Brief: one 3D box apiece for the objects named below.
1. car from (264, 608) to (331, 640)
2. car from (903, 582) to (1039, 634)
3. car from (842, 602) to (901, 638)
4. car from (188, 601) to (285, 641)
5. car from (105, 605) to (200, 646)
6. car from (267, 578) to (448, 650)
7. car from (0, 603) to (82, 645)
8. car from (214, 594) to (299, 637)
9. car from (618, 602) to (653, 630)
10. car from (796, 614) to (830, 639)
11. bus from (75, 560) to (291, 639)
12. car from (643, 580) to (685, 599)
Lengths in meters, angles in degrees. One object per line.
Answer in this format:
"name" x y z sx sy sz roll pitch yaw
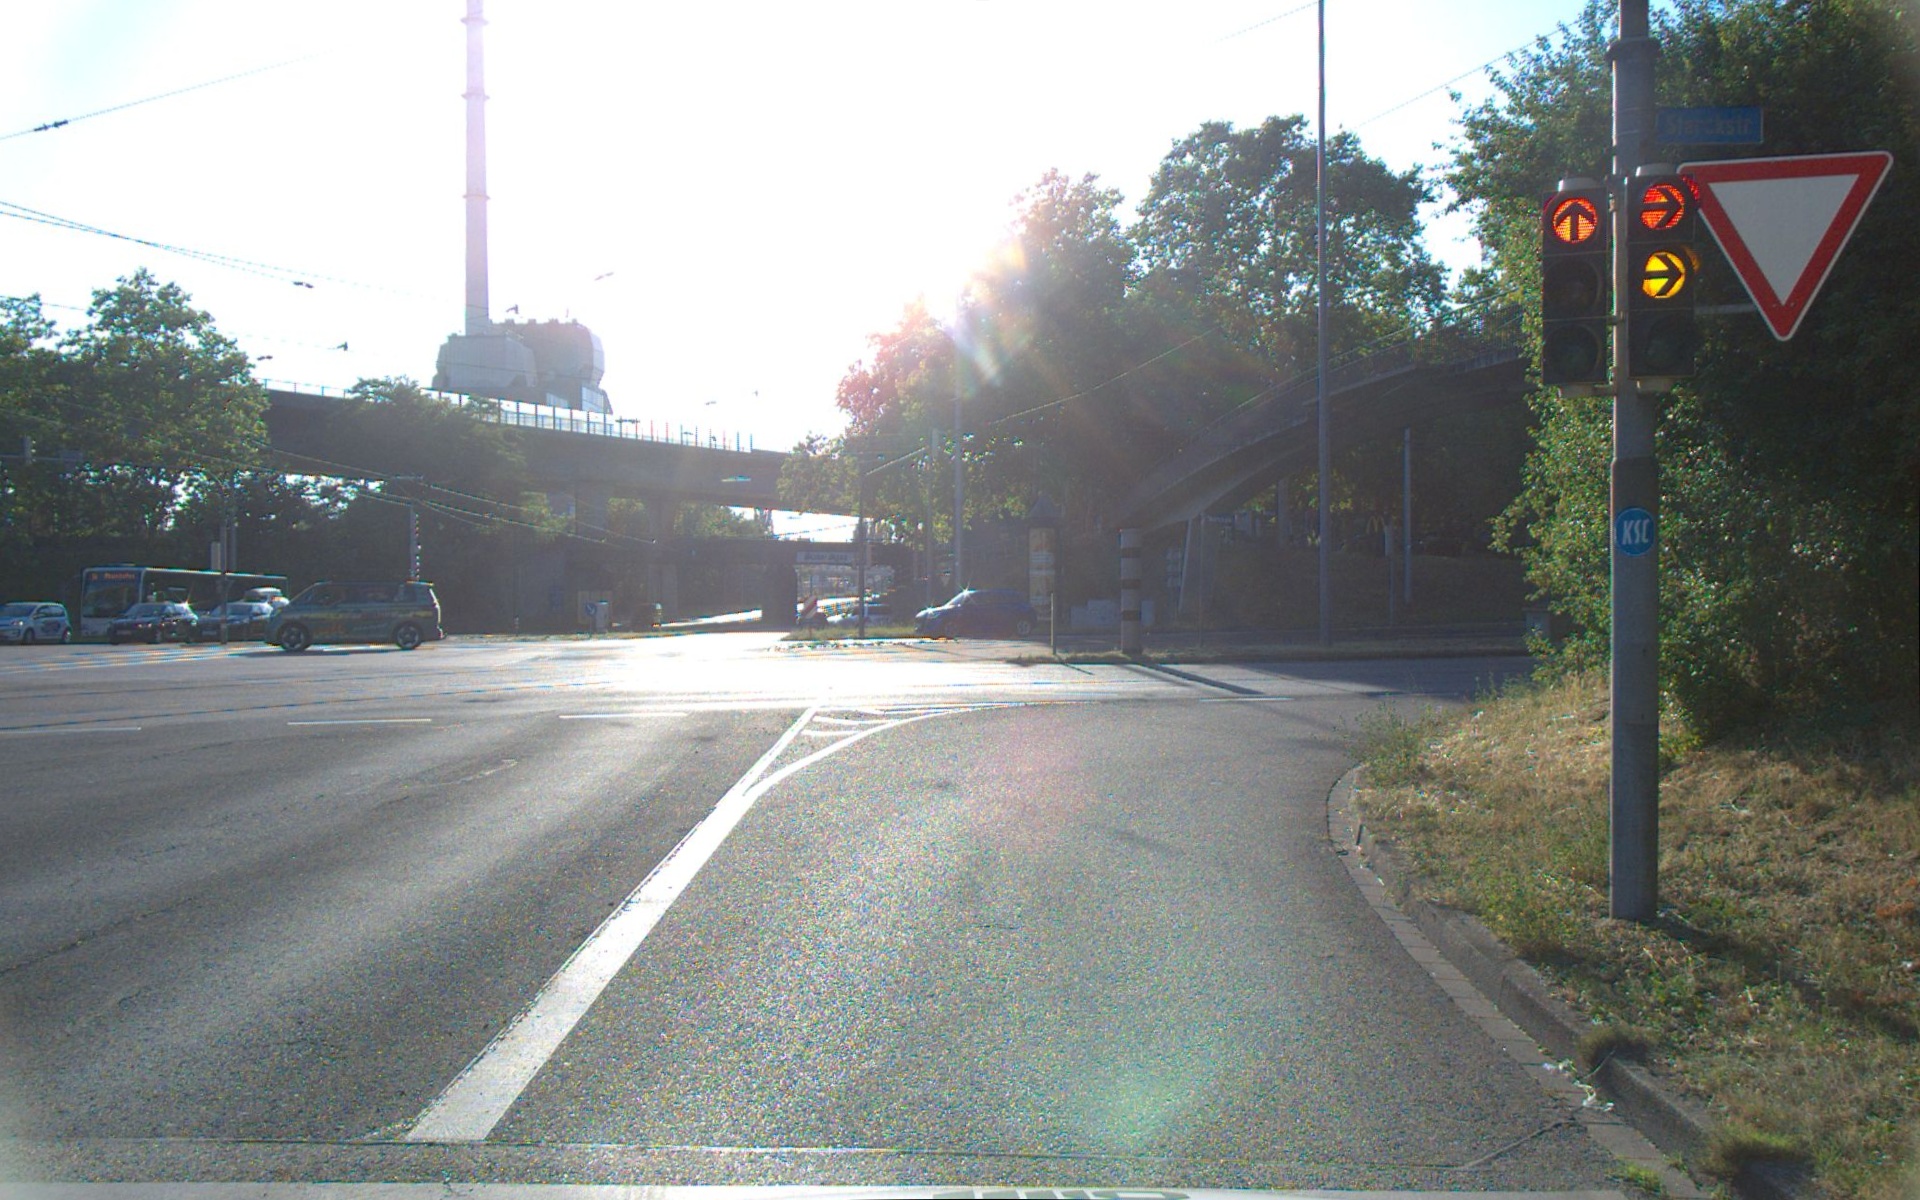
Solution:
"car" -32.009 1.132 80.021 1.665 1.467 4.000 0 0 0
"car" 0.332 0.255 51.863 3.864 1.586 1.989 0 0 -20
"car" -4.304 0.951 79.941 1.686 1.681 4.194 0 0 -20
"car" -25.737 0.725 58.993 1.676 1.378 4.095 0 0 0
"car" -28.506 0.890 58.508 1.572 1.378 3.998 0 0 -3
"car" -16.657 0.387 45.983 4.616 1.939 1.990 0 0 -18
"car" -32.136 0.813 57.330 1.572 1.378 3.732 0 0 -3
"car" -28.242 0.608 66.545 1.676 1.681 4.095 0 0 0
"car" -20.292 0.993 103.445 1.677 1.681 4.091 0 0 -5
"car" -8.775 1.569 98.877 1.657 1.447 4.151 0 0 -1
"bus" -32.123 -0.020 69.304 2.764 3.006 12.855 0 0 1
"car" -29.539 -1.054 165.051 1.957 1.802 3.991 1 0 31
